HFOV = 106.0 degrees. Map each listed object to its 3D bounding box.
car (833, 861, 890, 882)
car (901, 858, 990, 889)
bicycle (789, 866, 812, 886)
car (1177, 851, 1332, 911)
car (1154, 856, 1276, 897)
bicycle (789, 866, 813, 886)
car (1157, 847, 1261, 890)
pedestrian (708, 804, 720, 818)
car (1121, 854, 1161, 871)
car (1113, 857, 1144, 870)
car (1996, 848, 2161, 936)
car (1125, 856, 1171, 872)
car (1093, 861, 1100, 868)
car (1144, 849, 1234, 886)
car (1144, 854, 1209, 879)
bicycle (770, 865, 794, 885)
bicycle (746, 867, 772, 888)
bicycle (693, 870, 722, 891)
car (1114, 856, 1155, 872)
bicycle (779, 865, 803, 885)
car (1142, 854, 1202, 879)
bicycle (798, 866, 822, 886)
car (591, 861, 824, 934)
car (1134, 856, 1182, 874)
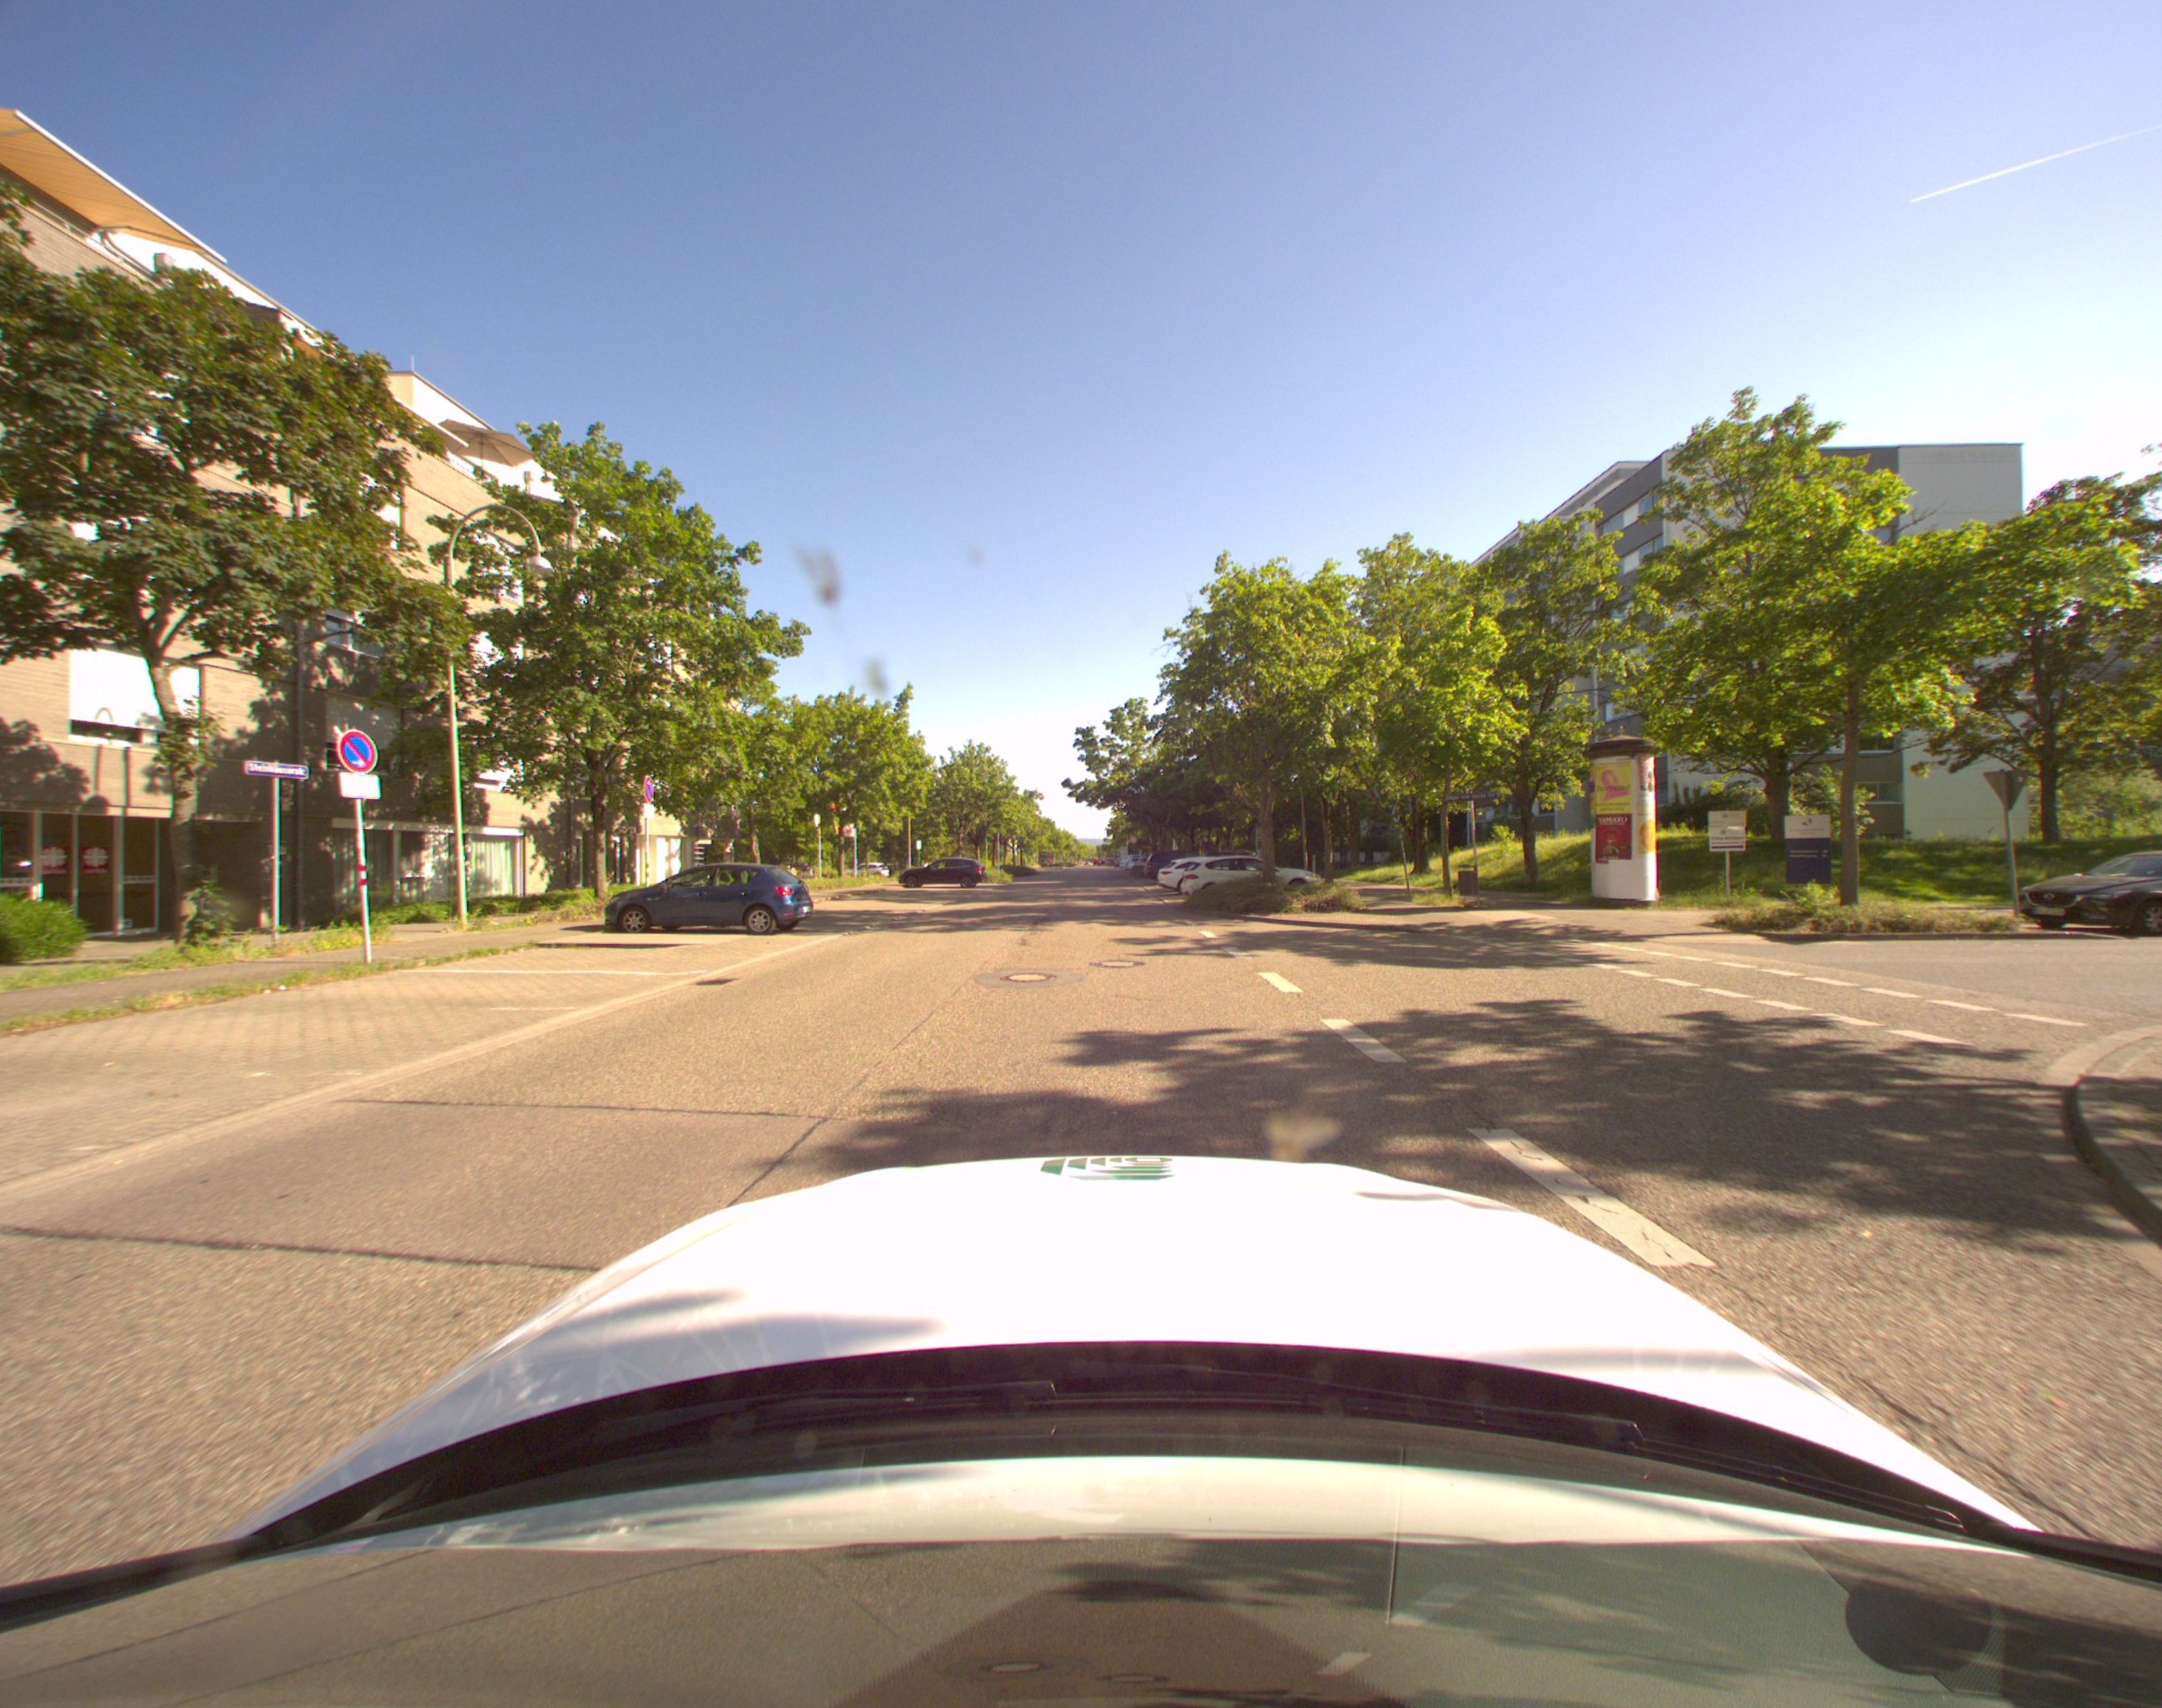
[{"bbox_3d":[-17.460,1.388,64.899,4.061,1.451,1.626,-3,-1,2],"label":"car"},{"bbox_3d":[-6.867,0.994,41.531,4.177,1.520,1.772,0,-1,1],"label":"car"},{"bbox_3d":[-15.220,1.163,44.246,0.435,1.047,2.193,0,-1,2],"label":"bicycle"},{"bbox_3d":[5.374,0.812,25.648,4.415,1.593,1.835,-3,-1,-2],"label":"car"},{"bbox_3d":[5.161,0.848,31.749,4.430,1.545,1.816,0,-1,-2],"label":"car"},{"bbox_3d":[-14.677,1.138,42.723,0.435,1.047,2.193,0,-1,2],"label":"bicycle"},{"bbox_3d":[5.418,0.637,34.896,4.106,1.618,1.733,-2,-2,-1],"label":"car"},{"bbox_3d":[-17.685,-2.076,39.283,0.415,0.686,0.426,0,-1,-8],"label":"pedestrian"},{"bbox_3d":[6.811,0.934,92.866,4.422,1.647,1.815,-4,0,-1],"label":"car"},{"bbox_3d":[6.699,1.330,114.533,4.150,1.428,2.000,-4,-1,0],"label":"car"},{"bbox_3d":[20.350,0.670,15.440,3.974,1.530,1.834,-1,0,-1],"label":"car"},{"bbox_3d":[6.300,0.961,76.336,4.253,1.428,1.830,-1,-1,5],"label":"car"},{"bbox_3d":[4.711,3.097,244.280,1.986,2.013,4.002,0,1,2],"label":"car"},{"bbox_3d":[5.753,0.710,43.822,4.570,1.779,2.000,-2,-1,1],"label":"car"},{"bbox_3d":[6.178,0.803,53.025,3.973,1.387,1.822,-4,0,1],"label":"car"},{"bbox_3d":[-16.230,1.144,44.283,0.435,1.047,2.193,0,-1,2],"label":"bicycle"},{"bbox_3d":[-16.845,1.239,42.688,0.435,1.047,2.193,0,-1,2],"label":"bicycle"},{"bbox_3d":[-19.666,1.372,42.914,0.435,1.047,2.193,0,-1,2],"label":"bicycle"},{"bbox_3d":[5.928,1.094,90.171,4.330,1.489,1.737,-3,-1,-1],"label":"car"},{"bbox_3d":[-15.738,1.153,44.261,0.435,1.047,2.193,0,-1,2],"label":"bicycle"},{"bbox_3d":[6.228,0.830,55.807,3.799,1.499,1.700,-3,-1,-3],"label":"car"},{"bbox_3d":[-14.207,1.136,42.727,0.435,1.047,2.193,0,-1,2],"label":"bicycle"},{"bbox_3d":[-7.596,0.862,16.890,3.977,1.411,1.815,0,-1,-3],"label":"car"},{"bbox_3d":[6.740,0.949,71.453,3.973,1.451,1.717,-3,0,1],"label":"car"}]
